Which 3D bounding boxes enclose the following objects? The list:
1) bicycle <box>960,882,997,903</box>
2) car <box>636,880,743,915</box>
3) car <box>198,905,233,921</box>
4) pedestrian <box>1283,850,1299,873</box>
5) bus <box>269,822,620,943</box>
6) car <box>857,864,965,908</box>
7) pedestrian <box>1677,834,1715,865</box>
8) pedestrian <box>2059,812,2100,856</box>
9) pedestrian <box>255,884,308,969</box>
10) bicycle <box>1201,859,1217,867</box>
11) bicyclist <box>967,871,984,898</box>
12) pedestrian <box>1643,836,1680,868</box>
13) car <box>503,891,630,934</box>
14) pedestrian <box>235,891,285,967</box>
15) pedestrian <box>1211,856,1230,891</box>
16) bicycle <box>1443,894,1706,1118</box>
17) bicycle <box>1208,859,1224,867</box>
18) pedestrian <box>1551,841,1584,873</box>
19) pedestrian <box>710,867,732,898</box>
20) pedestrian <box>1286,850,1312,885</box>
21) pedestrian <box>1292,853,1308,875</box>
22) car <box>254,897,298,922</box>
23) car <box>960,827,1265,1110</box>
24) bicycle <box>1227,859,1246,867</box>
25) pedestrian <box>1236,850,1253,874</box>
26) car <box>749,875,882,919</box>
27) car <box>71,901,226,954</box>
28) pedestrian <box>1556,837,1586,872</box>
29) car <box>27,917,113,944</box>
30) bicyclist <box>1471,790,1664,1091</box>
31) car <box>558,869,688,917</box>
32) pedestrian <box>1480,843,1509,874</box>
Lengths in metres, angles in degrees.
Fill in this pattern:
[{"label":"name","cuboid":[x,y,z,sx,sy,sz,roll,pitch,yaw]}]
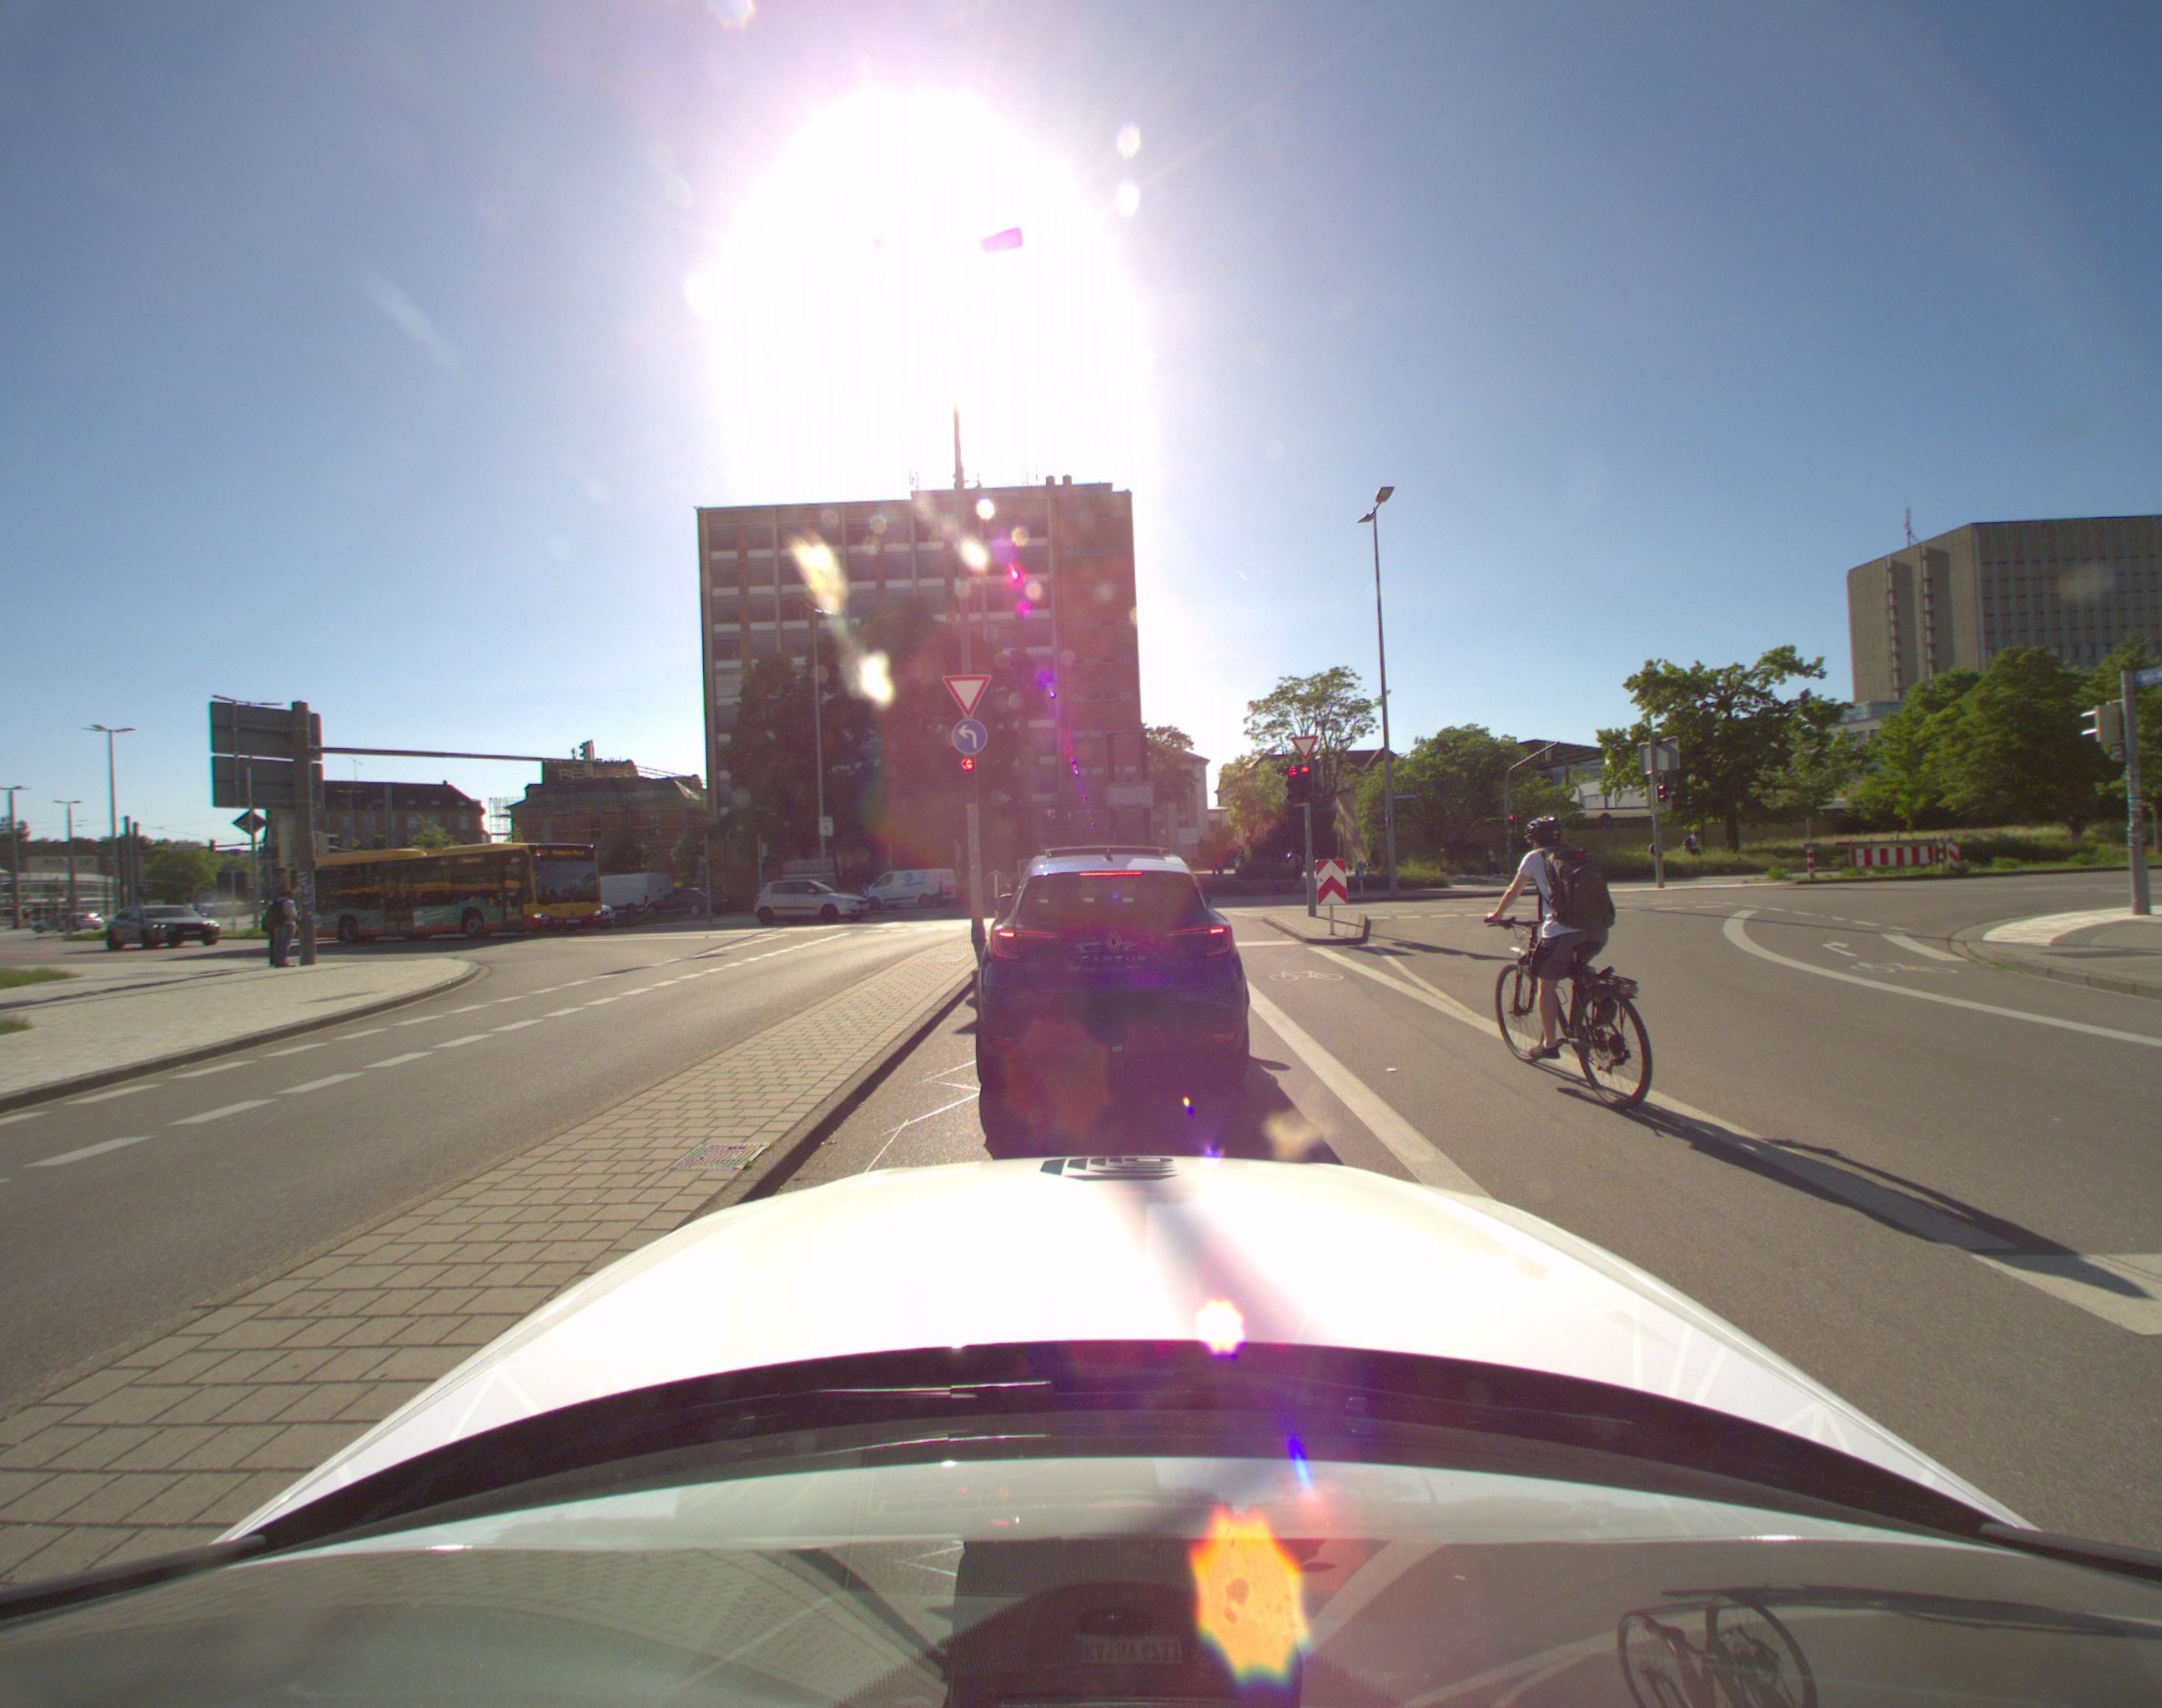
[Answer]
[{"label":"bicycle","cuboid":[-5.587,2.084,44.349,1.876,1.007,0.693,-1,-4,-34]},{"label":"car","cuboid":[-20.558,2.269,42.779,4.804,1.582,2.111,-3,0,17]},{"label":"car","cuboid":[-95.477,6.474,89.833,3.948,1.582,2.013,-1,-1,33]},{"label":"pedestrian","cuboid":[16.553,0.601,64.162,0.949,1.741,0.984,-2,-1,2]},{"label":"bus","cuboid":[-22.102,1.068,28.144,12.320,3.570,3.266,-3,-1,19]},{"label":"car","cuboid":[-8.694,1.614,41.752,4.960,2.013,2.081,-3,0,16]},{"label":"pedestrian","cuboid":[30.928,-0.214,40.967,1.123,1.521,0.992,-2,-1,5]},{"label":"pedestrian","cuboid":[48.772,-0.978,39.795,0.891,2.079,0.814,-2,-1,5]},{"label":"pedestrian","cuboid":[-18.153,1.628,18.492,0.673,1.855,0.608,-3,-1,25]},{"label":"bicycle","cuboid":[15.553,1.070,99.007,1.764,0.893,0.766,-2,-1,2]},{"label":"bicyclist","cuboid":[-5.730,1.641,44.282,0.641,1.412,0.642,-1,-3,-35]},{"label":"pedestrian","cuboid":[28.769,-0.087,40.375,1.140,1.521,0.944,-2,-1,7]},{"label":"car","cuboid":[-19.305,2.195,30.585,3.957,1.373,1.767,-3,0,16]},{"label":"pedestrian","cuboid":[-19.254,1.746,19.105,0.627,1.697,0.608,-3,-1,25]},{"label":"pedestrian","cuboid":[7.718,1.076,45.096,0.926,1.855,0.809,-3,-1,11]},{"label":"bicycle","cuboid":[3.123,0.880,5.397,0.613,1.138,1.826,-2,0,0]},{"label":"bicycle","cuboid":[15.698,1.017,94.637,1.764,0.898,0.766,-2,-1,2]},{"label":"pedestrian","cuboid":[24.244,0.147,40.606,1.069,1.521,0.880,-2,-1,6]},{"label":"pedestrian","cuboid":[-24.304,1.936,54.951,0.815,2.013,1.021,-3,-1,30]},{"label":"pedestrian","cuboid":[11.976,0.751,44.835,1.288,1.855,0.969,-3,-1,13]},{"label":"pedestrian","cuboid":[17.053,0.762,63.496,0.932,1.613,1.176,-2,-1,2]},{"label":"car","cuboid":[-72.221,4.919,73.063,3.948,2.014,2.079,-1,-1,34]},{"label":"car","cuboid":[0.221,0.677,6.768,1.788,1.655,3.853,-1,0,1]},{"label":"bicycle","cuboid":[15.807,0.912,82.825,1.770,0.823,0.763,-2,0,-9]},{"label":"pedestrian","cuboid":[13.784,0.676,68.680,1.152,2.013,1.165,-2,-1,2]},{"label":"car","cuboid":[-8.948,1.468,27.561,3.816,1.403,1.899,-2,-3,14]},{"label":"car","cuboid":[-38.260,3.005,33.468,4.697,1.861,2.011,-3,-1,10]},{"label":"pedestrian","cuboid":[25.106,0.026,41.724,0.957,1.732,0.928,-2,-1,9]},{"label":"car","cuboid":[-81.726,6.158,65.902,3.994,1.772,1.774,-2,0,-15]},{"label":"bicyclist","cuboid":[3.129,0.519,5.333,0.674,1.785,0.939,-1,-1,0]},{"label":"car","cuboid":[-27.383,2.319,48.704,6.874,2.547,3.029,-3,0,22]},{"label":"pedestrian","cuboid":[21.232,0.228,41.835,1.078,1.521,0.933,-2,-1,11]}]
